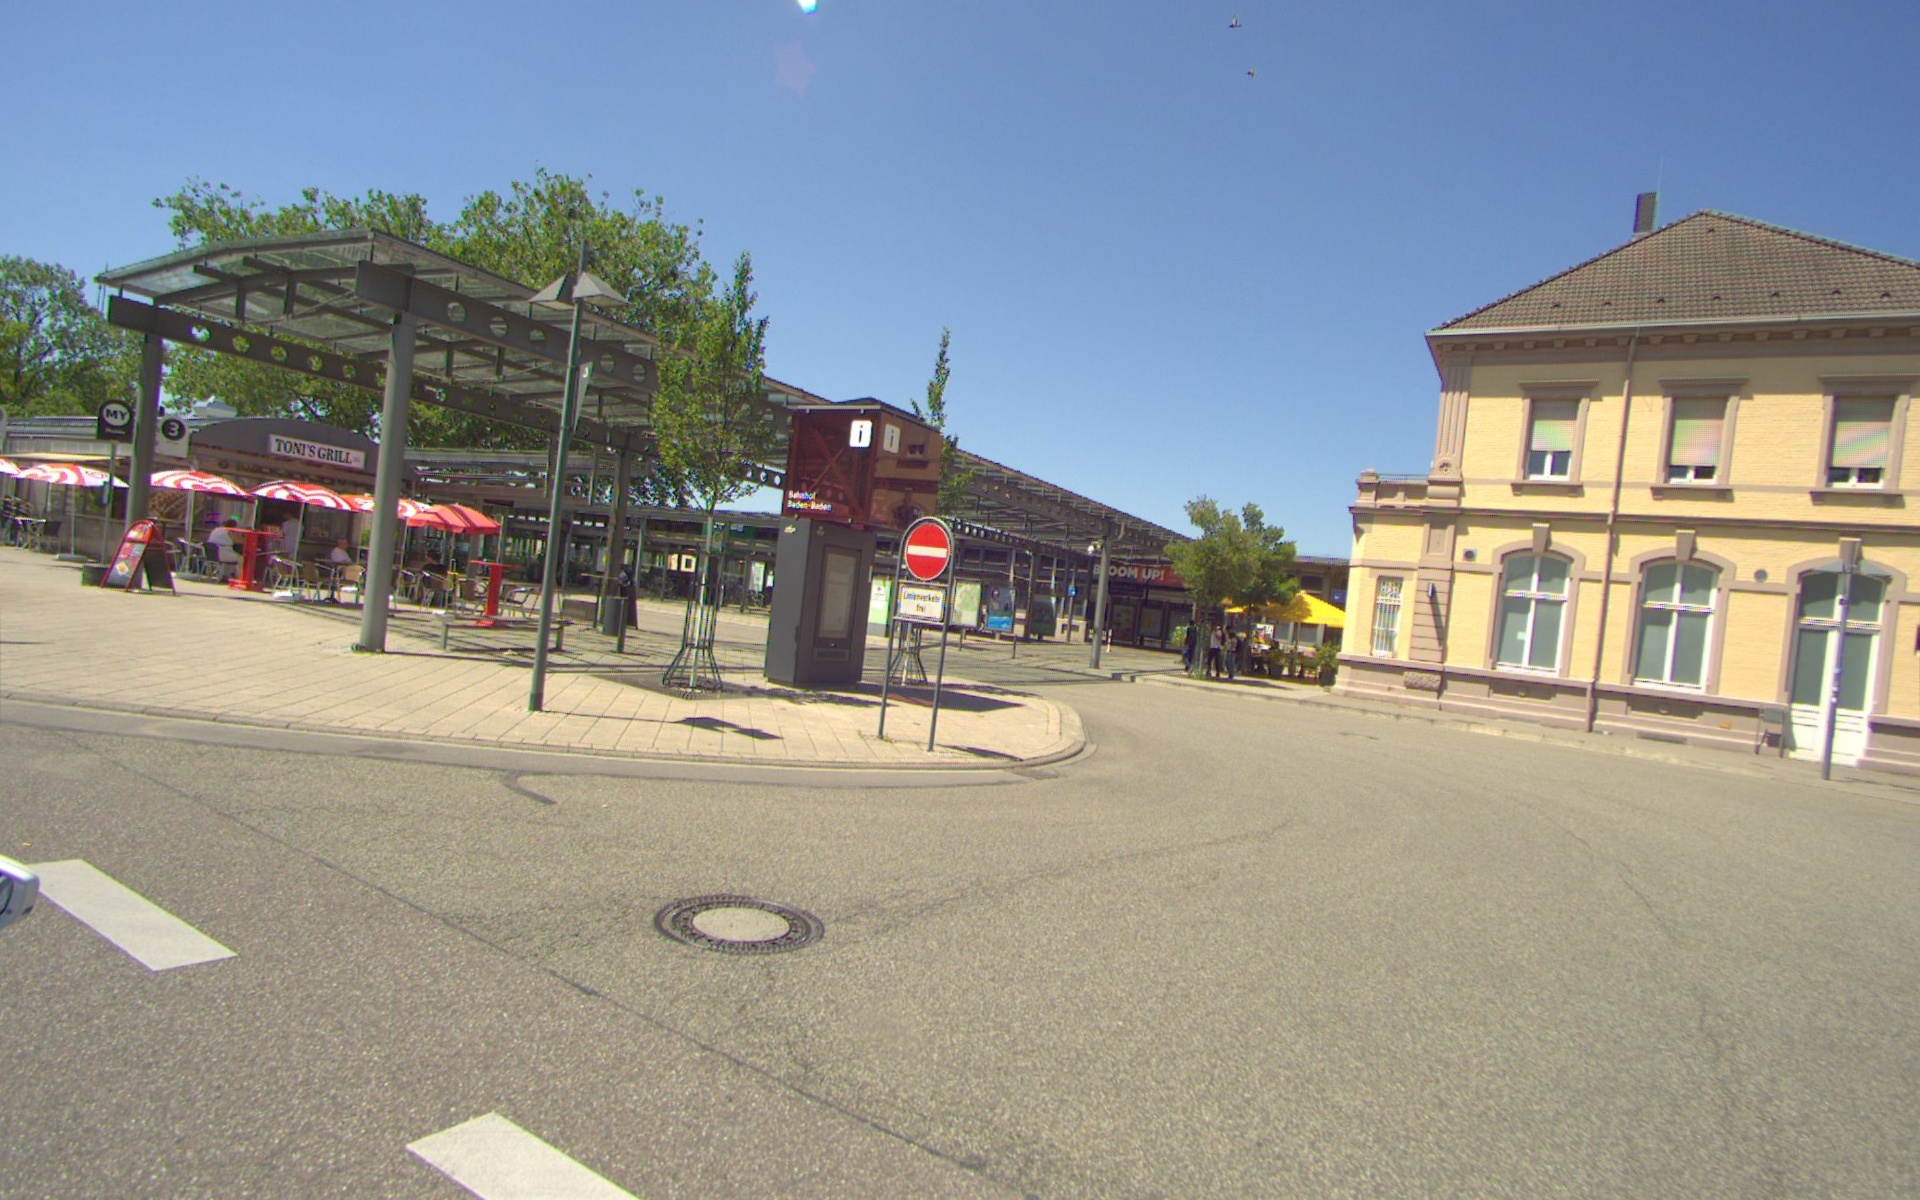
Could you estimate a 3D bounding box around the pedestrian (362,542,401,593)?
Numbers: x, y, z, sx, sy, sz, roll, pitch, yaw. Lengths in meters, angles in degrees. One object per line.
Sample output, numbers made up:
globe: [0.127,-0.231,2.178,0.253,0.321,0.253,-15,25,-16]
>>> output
pedestrian: [-15.048,-0.844,26.173,0.653,1.219,0.585,8,-2,-43]

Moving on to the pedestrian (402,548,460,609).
pedestrian: [-11.328,-0.457,21.559,0.881,1.175,0.686,7,1,36]

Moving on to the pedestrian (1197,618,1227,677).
pedestrian: [8.126,1.533,32.450,0.547,1.832,0.493,6,1,-38]

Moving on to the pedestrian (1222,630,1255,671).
pedestrian: [10.027,1.809,36.246,0.958,1.371,1.052,4,2,11]

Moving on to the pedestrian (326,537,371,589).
pedestrian: [-15.472,-0.932,25.477,0.582,1.219,0.656,6,-2,31]

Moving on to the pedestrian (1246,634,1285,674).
pedestrian: [11.246,1.980,37.032,1.035,1.371,0.973,5,2,34]

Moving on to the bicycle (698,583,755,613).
bicycle: [-10.636,-0.094,45.975,0.797,1.015,2.794,6,-3,29]

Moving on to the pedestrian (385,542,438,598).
pedestrian: [-13.447,-0.736,24.664,0.725,1.219,0.760,6,-2,32]

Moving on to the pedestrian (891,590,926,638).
pedestrian: [-1.885,0.505,36.708,0.912,1.610,0.853,6,1,-17]

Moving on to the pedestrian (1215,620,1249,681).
pedestrian: [8.577,1.598,31.759,0.626,1.832,0.590,6,1,-38]

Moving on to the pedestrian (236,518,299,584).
pedestrian: [-15.321,-1.074,22.270,0.676,1.329,0.894,6,0,-3]

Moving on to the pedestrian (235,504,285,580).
pedestrian: [-17.447,-1.442,25.076,0.695,1.759,0.687,7,1,32]

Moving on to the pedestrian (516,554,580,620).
pedestrian: [-8.862,-0.280,21.640,0.881,1.293,0.845,7,0,36]

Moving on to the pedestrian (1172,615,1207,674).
pedestrian: [7.455,1.450,32.697,0.684,1.832,0.625,6,1,-37]

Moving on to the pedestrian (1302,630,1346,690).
pedestrian: [12.338,2.038,34.085,1.064,1.870,1.081,7,1,29]

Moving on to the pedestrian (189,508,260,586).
pedestrian: [-14.747,-1.043,20.202,0.676,1.435,0.894,6,0,-6]

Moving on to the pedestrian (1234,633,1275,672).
pedestrian: [11.274,2.017,38.550,1.038,1.371,0.971,3,2,-25]

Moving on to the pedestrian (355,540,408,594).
pedestrian: [-14.532,-0.823,25.274,0.725,1.219,0.760,6,-2,32]

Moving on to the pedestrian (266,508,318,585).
pedestrian: [-16.191,-1.291,24.390,0.695,1.759,0.687,7,1,32]

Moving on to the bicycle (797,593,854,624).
bicycle: [-5.716,0.379,42.934,0.797,1.015,2.794,6,-3,29]

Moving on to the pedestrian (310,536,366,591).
pedestrian: [-14.498,-0.834,23.470,0.676,1.175,0.894,6,0,-3]

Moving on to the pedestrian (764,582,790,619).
pedestrian: [-7.418,0.028,40.763,0.665,1.413,0.625,6,2,31]
